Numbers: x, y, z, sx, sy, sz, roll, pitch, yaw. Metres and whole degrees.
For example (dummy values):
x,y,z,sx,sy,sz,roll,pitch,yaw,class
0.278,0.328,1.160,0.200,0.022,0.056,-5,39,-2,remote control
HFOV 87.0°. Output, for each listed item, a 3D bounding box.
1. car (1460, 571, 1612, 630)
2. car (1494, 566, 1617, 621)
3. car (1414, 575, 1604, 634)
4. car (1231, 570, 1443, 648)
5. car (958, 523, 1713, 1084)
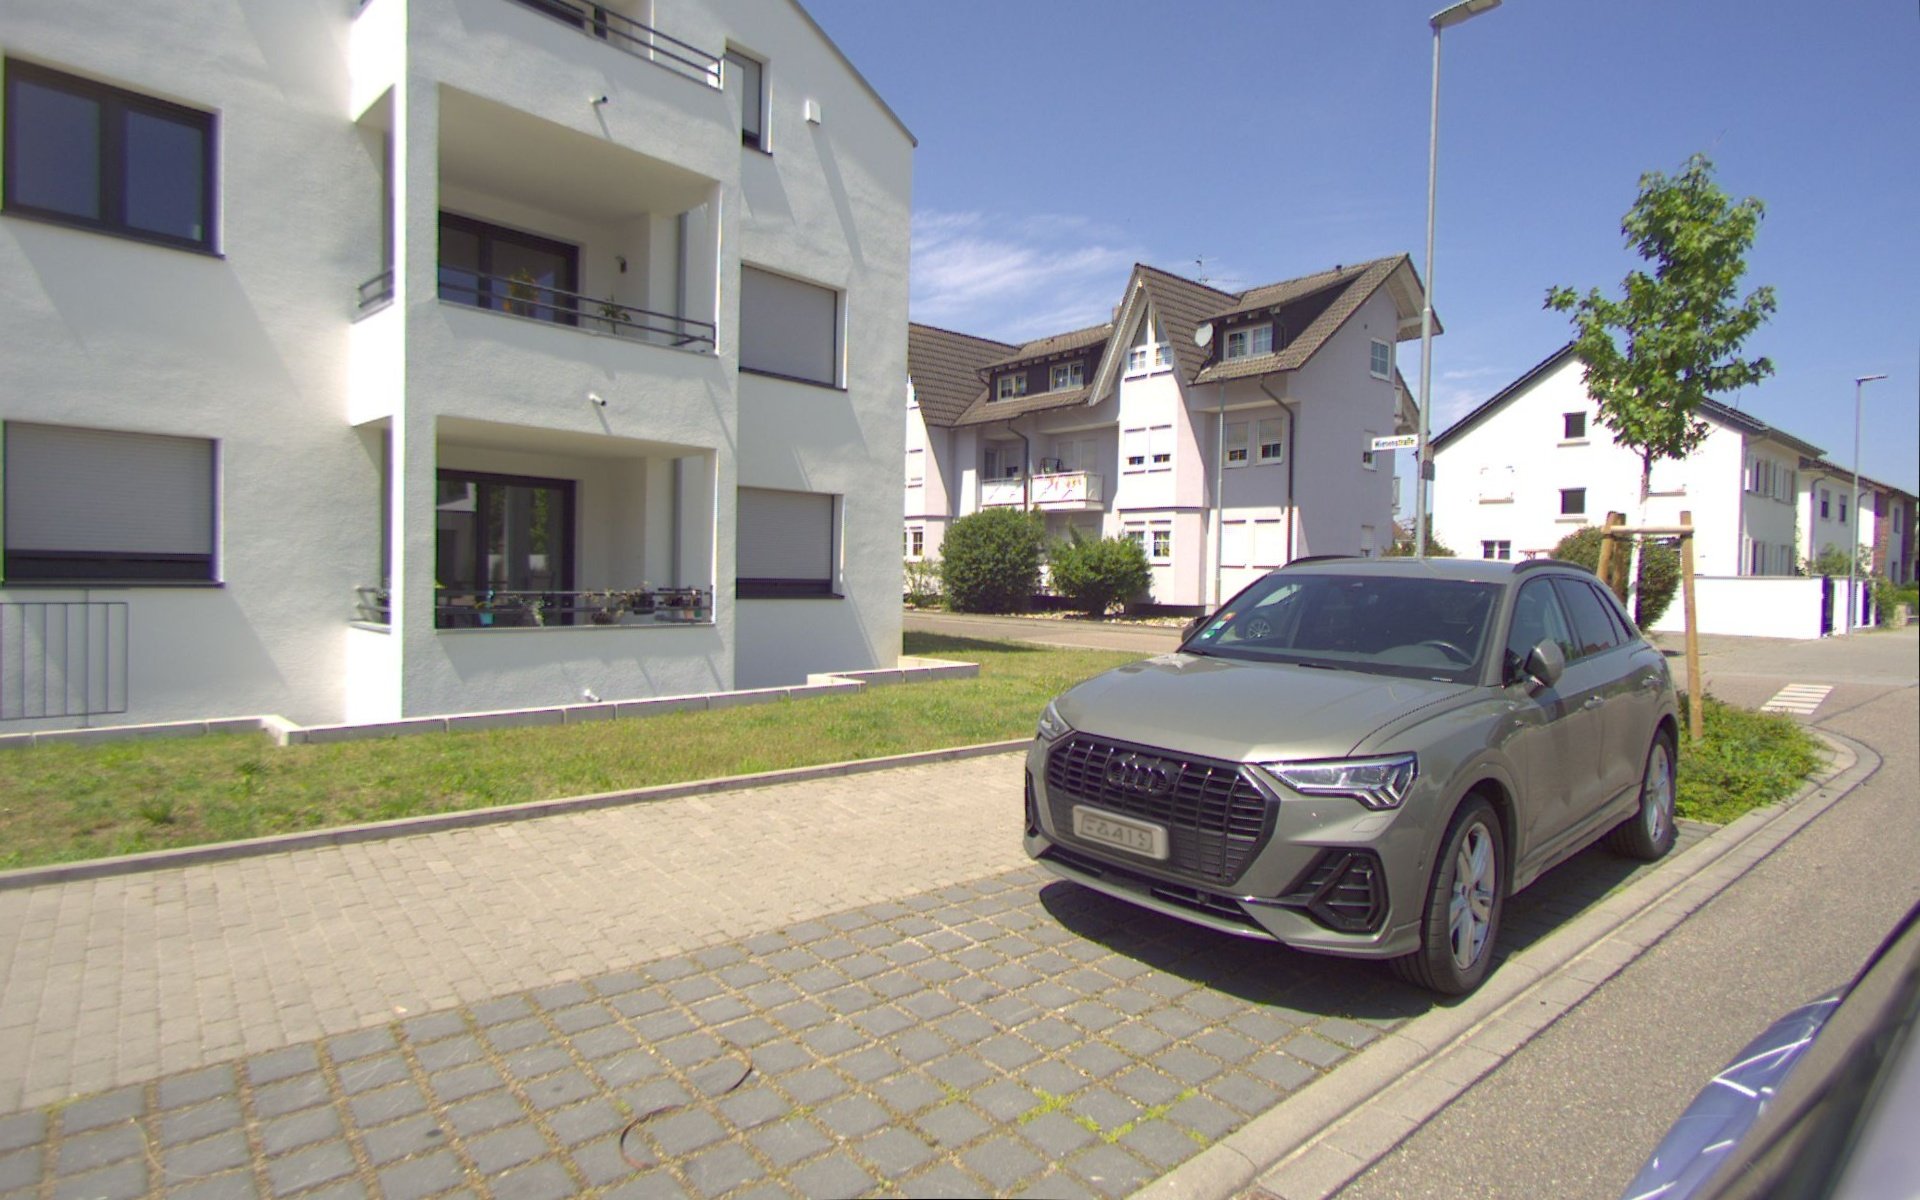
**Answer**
x,y,z,sx,sy,sz,roll,pitch,yaw,class
16.423,-0.022,28.962,1.636,1.513,3.449,0,2,-43,car
21.298,-0.280,36.252,1.740,1.835,3.393,0,2,-41,car
14.726,0.061,27.311,1.636,1.391,4.206,0,2,-43,car
8.164,0.136,22.111,3.991,1.485,1.729,3,2,43,car
2.138,0.536,4.997,4.207,1.615,1.775,-1,2,-43,car
